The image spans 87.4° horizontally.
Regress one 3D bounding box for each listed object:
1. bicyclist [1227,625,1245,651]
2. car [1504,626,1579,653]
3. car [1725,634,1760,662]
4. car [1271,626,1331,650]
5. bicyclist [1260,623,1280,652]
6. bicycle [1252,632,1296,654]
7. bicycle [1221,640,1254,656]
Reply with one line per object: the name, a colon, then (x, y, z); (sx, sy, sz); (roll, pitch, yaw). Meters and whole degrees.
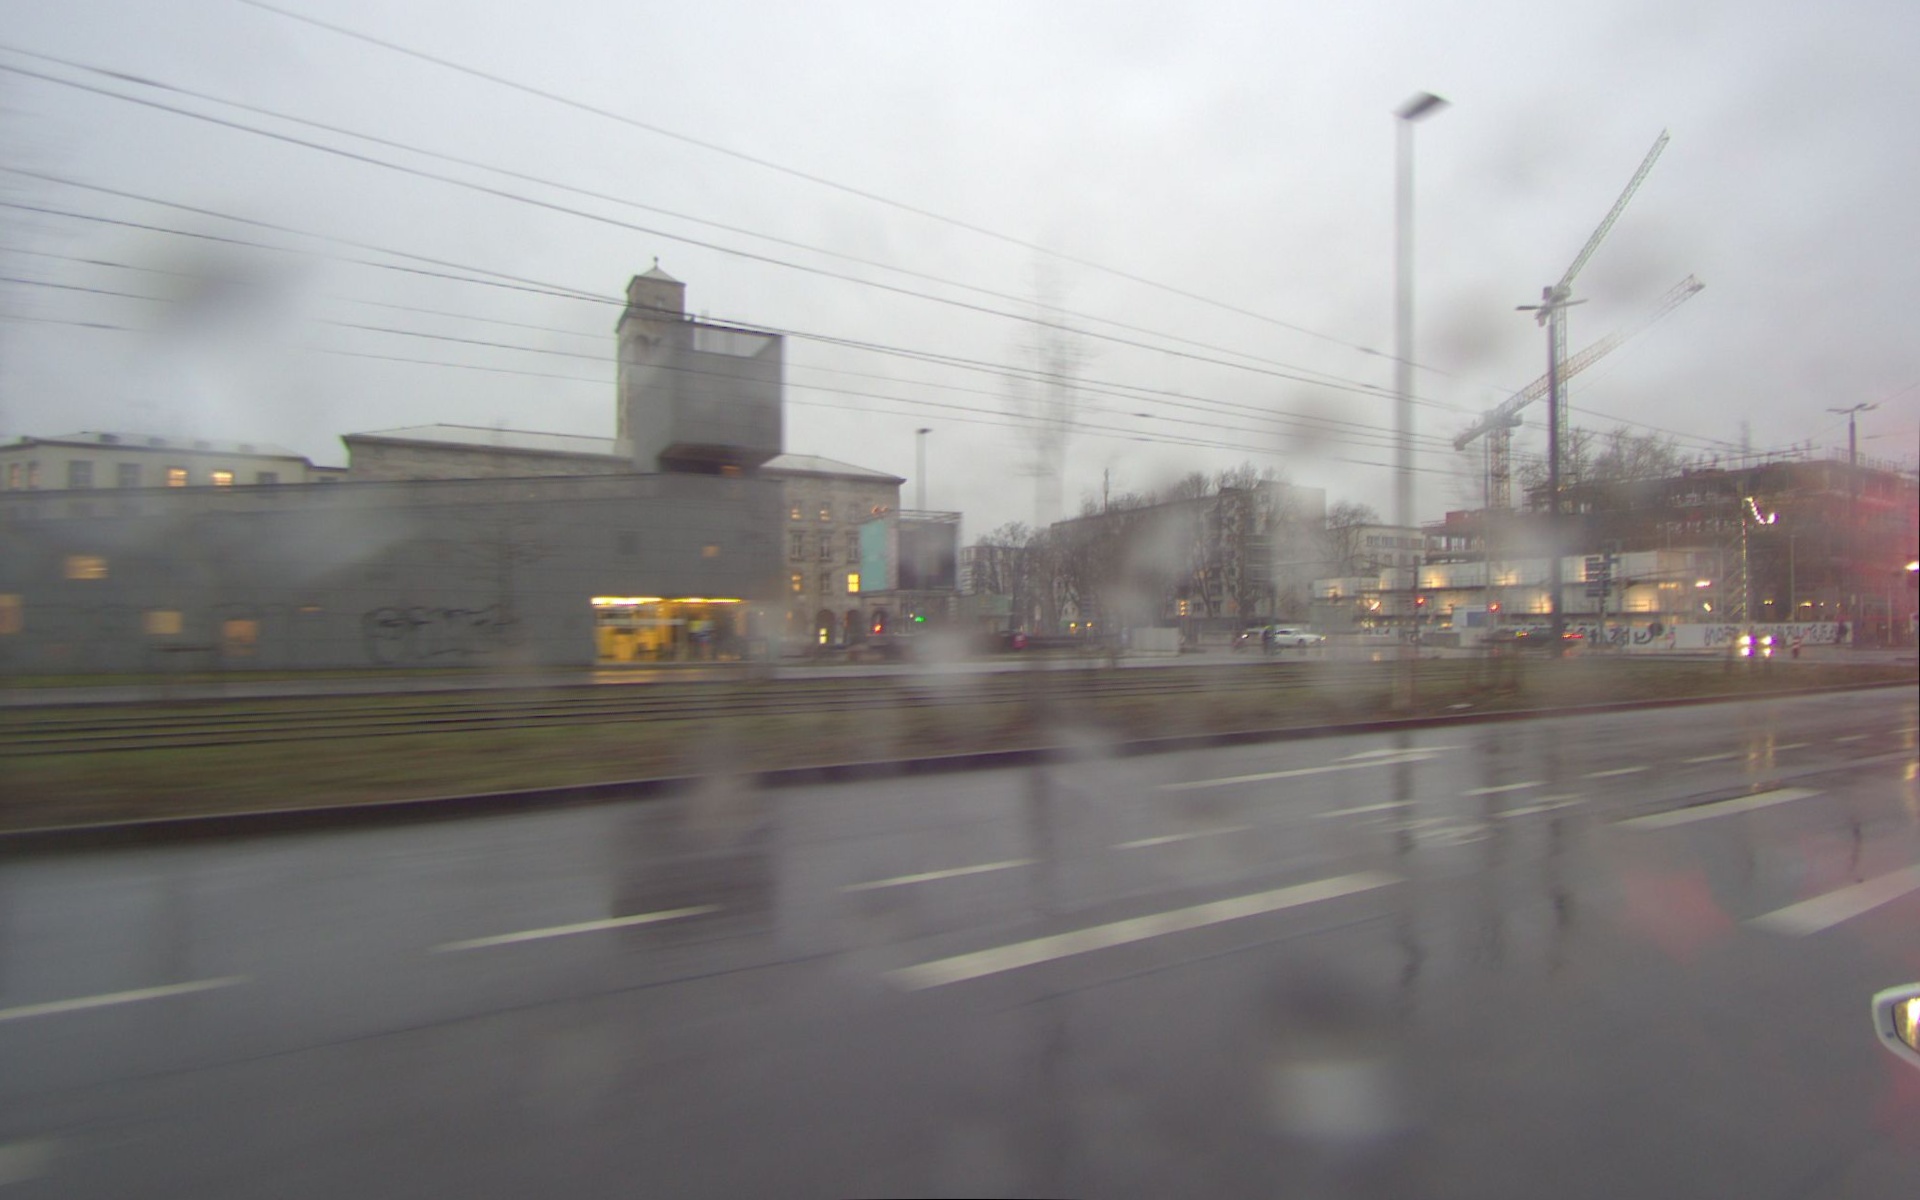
bicyclist: (18.858, 2.583, 68.542); (0.611, 1.719, 1.026); (1, -2, -35)
car: (39.459, 2.671, 68.280); (1.979, 1.773, 3.963); (1, -2, -34)
car: (58.215, 3.531, 74.692); (1.736, 2.040, 3.978); (-1, -2, 42)
car: (25.450, 2.824, 75.043); (1.978, 1.706, 3.966); (1, -2, -31)
bicyclist: (20.058, 2.428, 64.971); (0.714, 1.863, 0.986); (1, -2, -38)
bicycle: (20.225, 2.782, 64.714); (0.714, 1.380, 2.810); (1, -3, -37)
bicycle: (18.908, 3.231, 68.444); (0.611, 1.046, 2.357); (1, -2, -35)
